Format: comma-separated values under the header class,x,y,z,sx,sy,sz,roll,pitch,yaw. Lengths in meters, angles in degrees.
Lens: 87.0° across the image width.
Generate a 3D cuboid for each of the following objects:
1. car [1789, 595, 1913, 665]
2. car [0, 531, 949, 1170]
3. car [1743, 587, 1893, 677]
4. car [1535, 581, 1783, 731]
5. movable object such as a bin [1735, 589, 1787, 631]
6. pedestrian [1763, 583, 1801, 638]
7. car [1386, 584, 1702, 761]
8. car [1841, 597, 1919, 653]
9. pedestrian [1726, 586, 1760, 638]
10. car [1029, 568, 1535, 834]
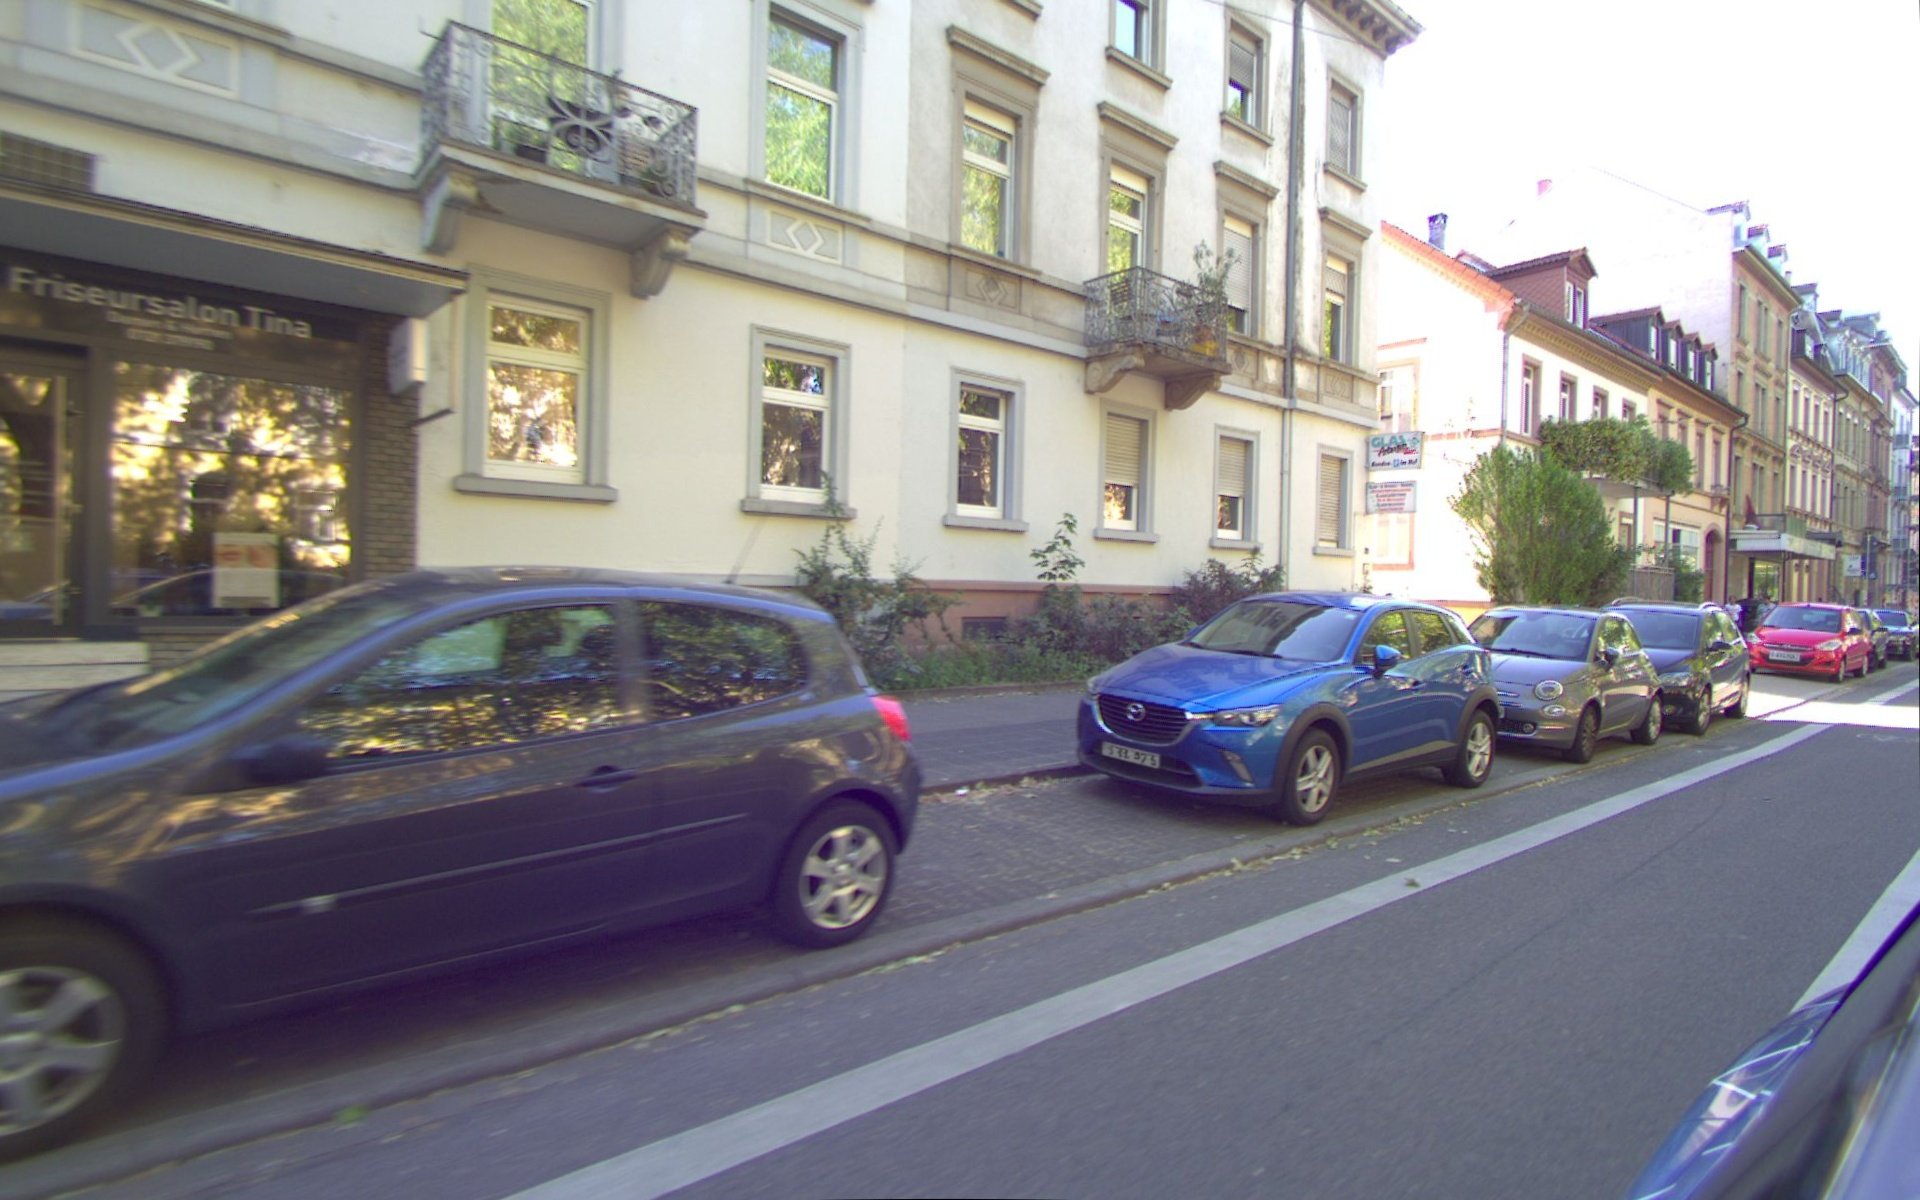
class,x,y,z,sx,sy,sz,roll,pitch,yaw
car,21.232,0.652,24.079,3.800,1.474,1.654,0,2,-40
car,-2.024,0.566,3.822,3.698,1.501,1.715,0,5,-41
car,17.927,0.602,21.106,3.511,1.564,1.640,0,7,-39
car,9.534,0.624,13.700,3.866,1.605,1.884,0,5,-43
movable object such as a bin,30.053,0.348,37.962,1.263,1.539,1.296,0,0,-40
pedestrian,23.677,0.299,29.149,0.851,1.523,0.661,0,2,-41
car,6.410,0.632,10.970,3.703,1.473,1.803,0,5,-41
car,26.651,0.649,28.765,4.414,1.409,1.698,0,2,-39
pedestrian,23.069,0.337,29.807,0.772,1.502,0.659,0,0,-41
car,2.657,0.574,7.976,3.953,1.473,1.886,0,5,-39
